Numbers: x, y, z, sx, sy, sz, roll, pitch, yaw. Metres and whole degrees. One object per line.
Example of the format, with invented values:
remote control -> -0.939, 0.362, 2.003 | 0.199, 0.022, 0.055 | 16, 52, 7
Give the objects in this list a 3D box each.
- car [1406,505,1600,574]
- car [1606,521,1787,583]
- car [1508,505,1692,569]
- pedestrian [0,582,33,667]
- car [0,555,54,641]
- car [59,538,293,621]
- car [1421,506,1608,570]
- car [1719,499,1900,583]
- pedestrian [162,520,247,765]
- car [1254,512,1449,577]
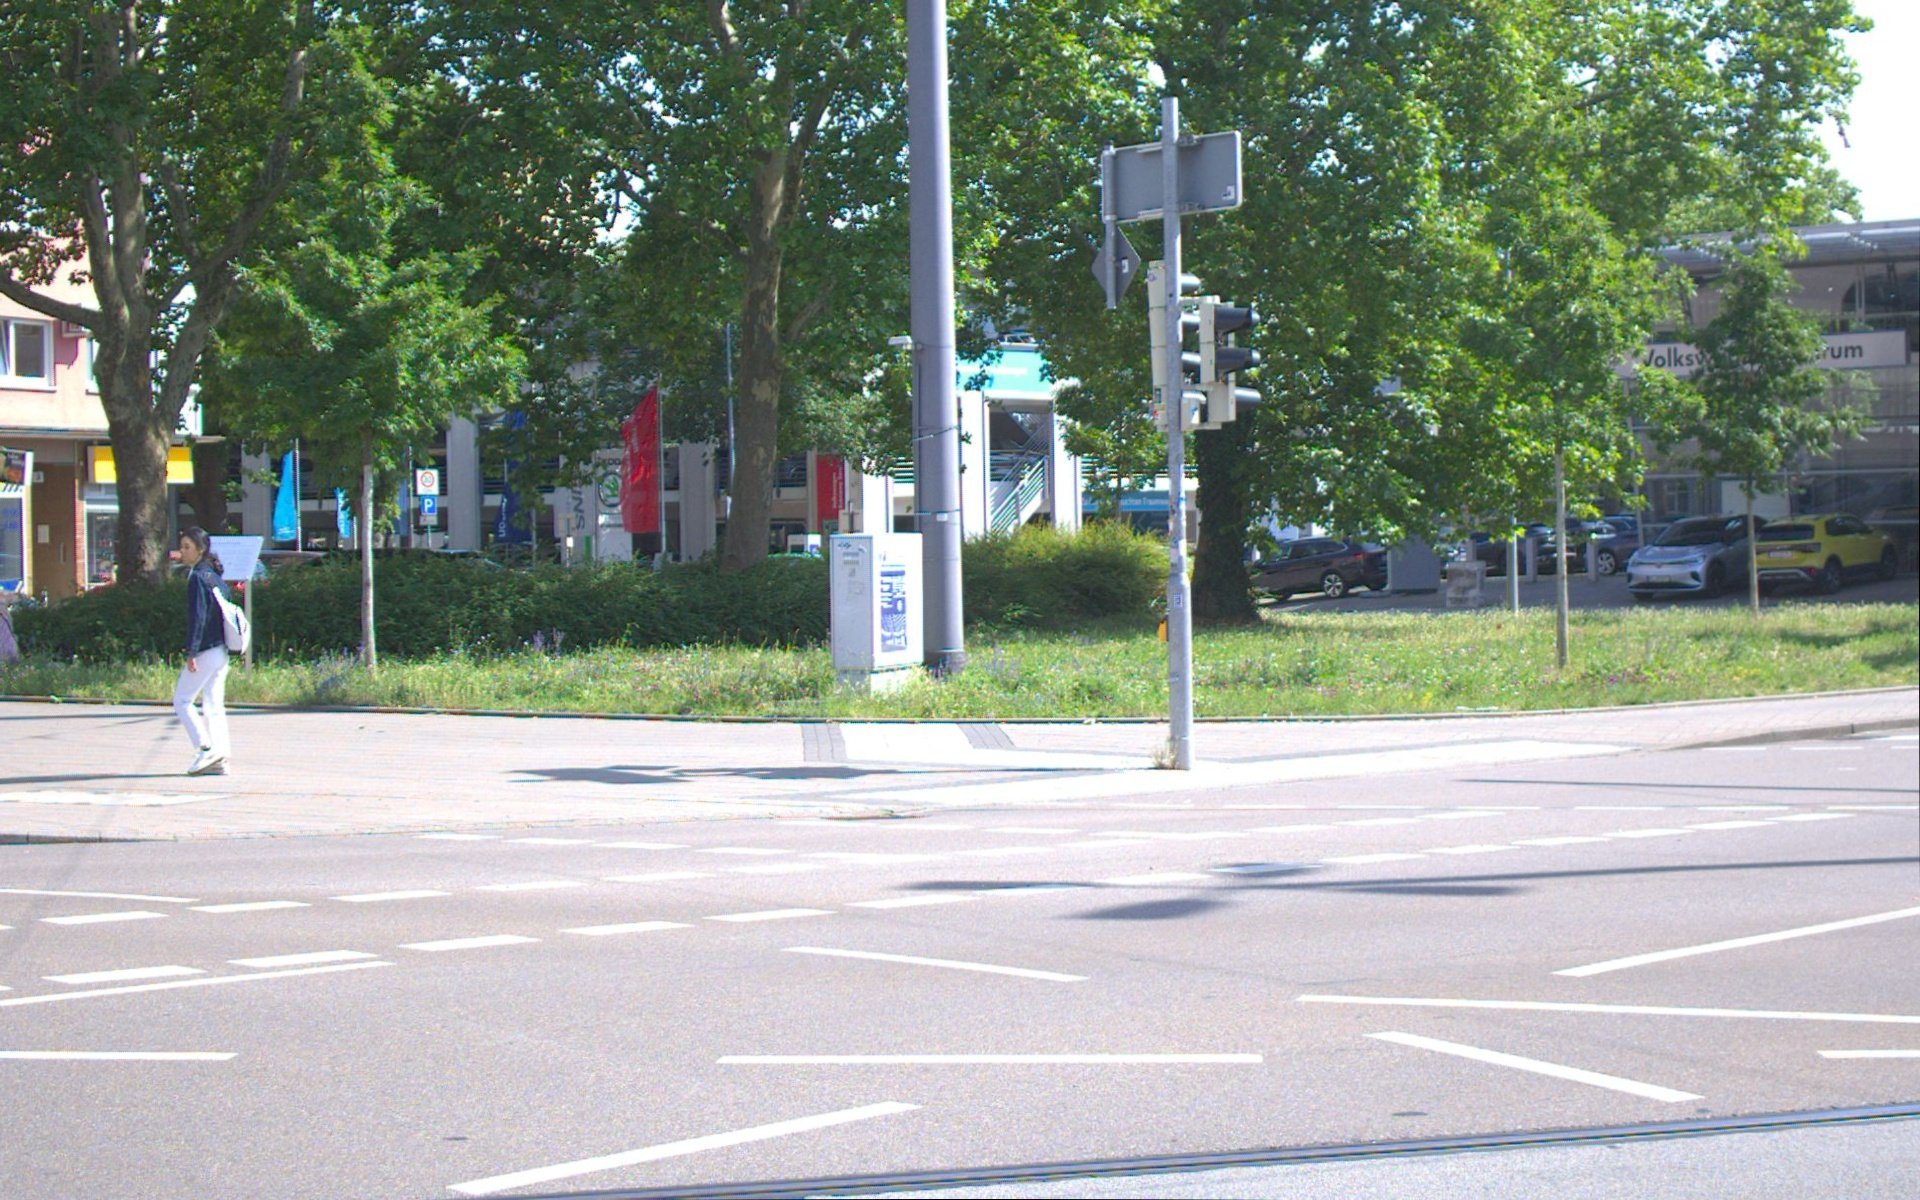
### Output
car -> 12.656, -1.418, 80.239 | 3.995, 1.546, 1.996 | 0, 2, 36
car -> 15.651, -1.037, 72.946 | 1.998, 1.240, 3.990 | 3, 3, 42
car -> 15.808, -1.554, 84.915 | 3.995, 1.503, 1.996 | 0, 2, 36
pedestrian -> -10.729, 0.268, 37.013 | 1.173, 0.889, 0.822 | 0, 1, 18
car -> -16.387, -0.082, 53.813 | 3.991, 1.266, 1.742 | 2, 2, 21
car -> -14.013, -0.382, 61.459 | 3.727, 1.335, 1.742 | 2, 2, 21
car -> 13.383, -1.492, 83.039 | 3.995, 1.503, 1.996 | 0, 2, 36
car -> 17.770, -1.240, 71.820 | 1.998, 1.678, 3.990 | 3, 3, 42
pedestrian -> -5.020, 0.275, 22.859 | 0.453, 1.599, 0.400 | 1, 2, 1
car -> 9.005, -1.290, 79.209 | 3.996, 1.366, 1.996 | 3, 3, 37
